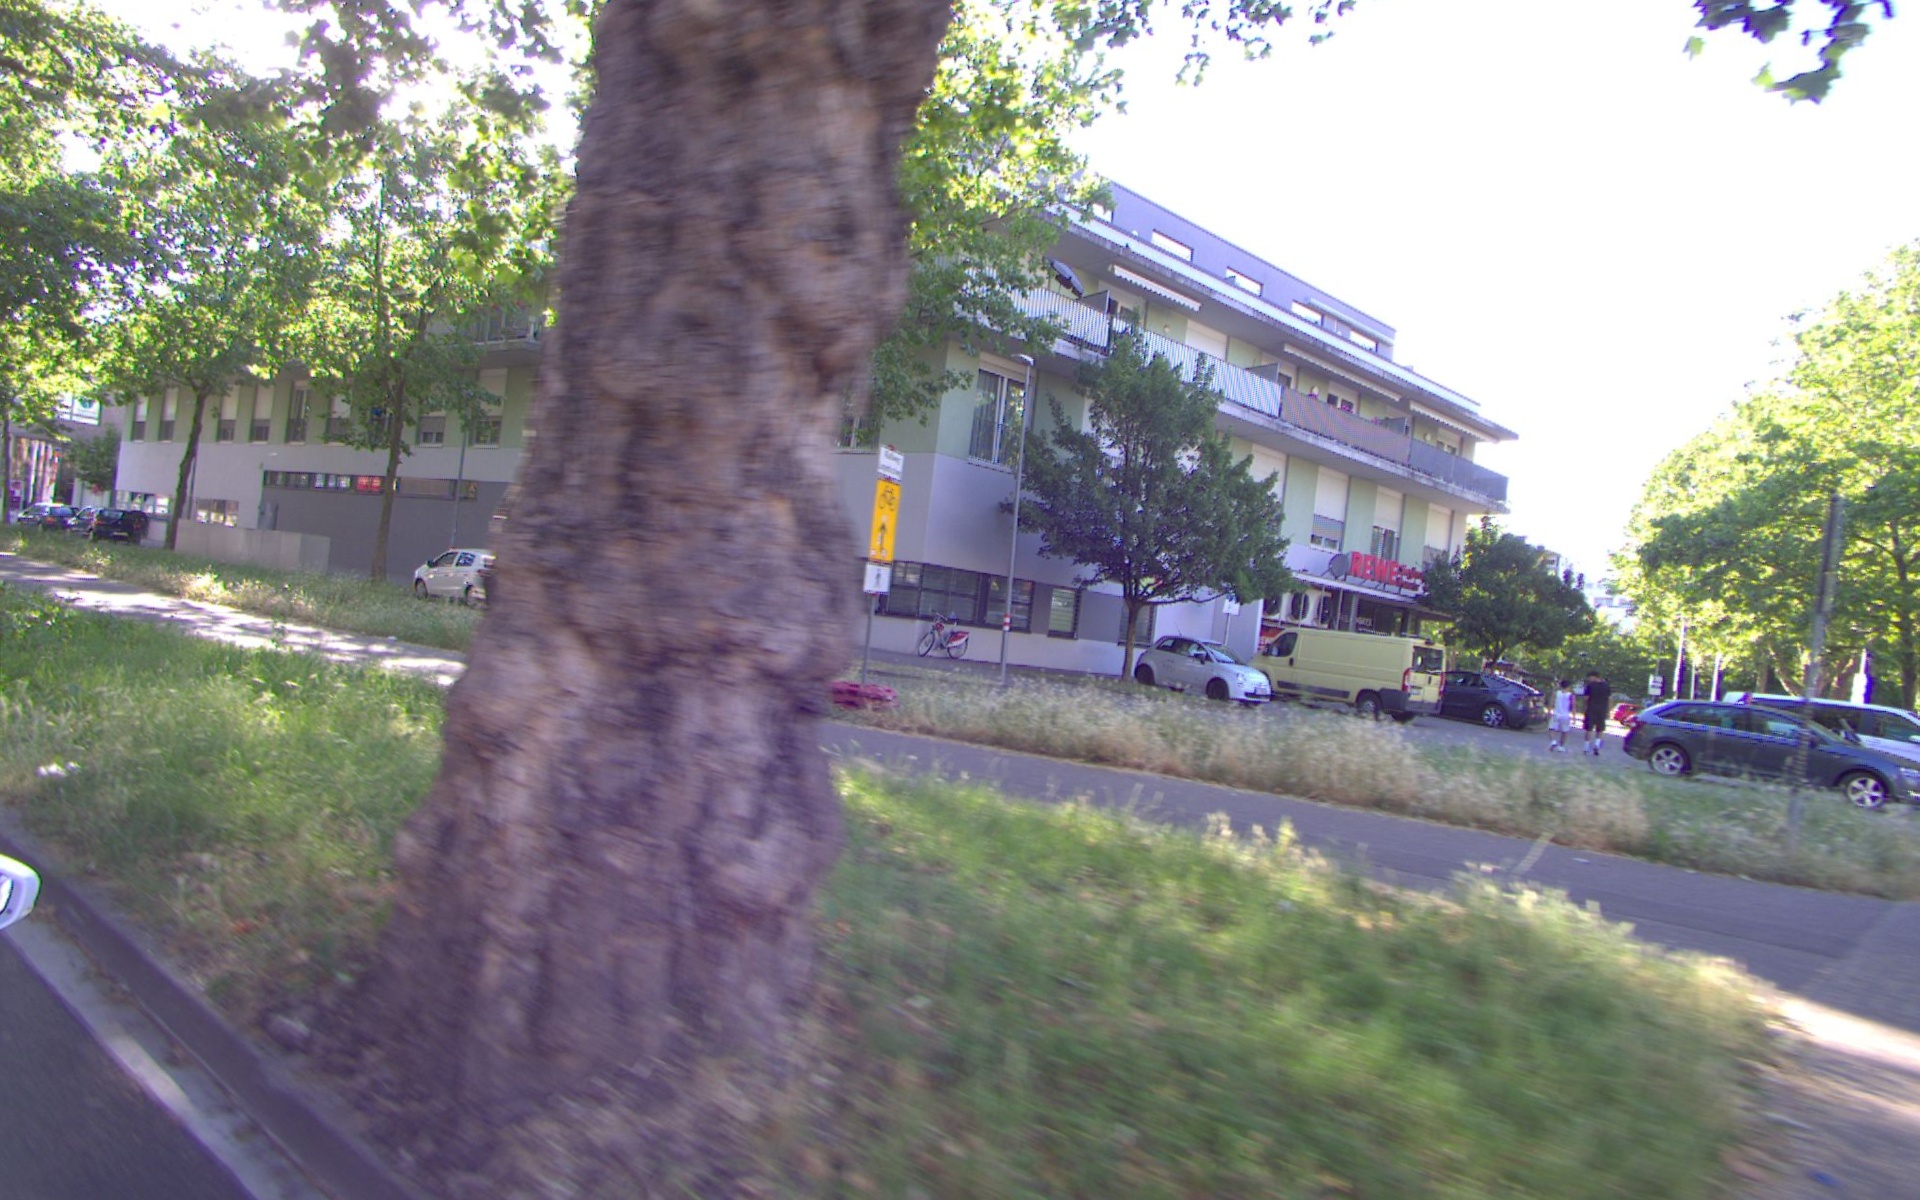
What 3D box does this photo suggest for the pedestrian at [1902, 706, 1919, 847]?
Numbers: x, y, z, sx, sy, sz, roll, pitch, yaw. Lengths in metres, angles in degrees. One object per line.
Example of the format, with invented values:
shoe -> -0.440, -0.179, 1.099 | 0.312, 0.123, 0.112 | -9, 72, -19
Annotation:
pedestrian -> 11.322, 1.857, 11.129 | 0.768, 1.956, 0.838 | 7, 1, -7

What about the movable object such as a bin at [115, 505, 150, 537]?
movable object such as a bin -> -43.702, -4.157, 53.114 | 1.389, 1.481, 1.190 | 7, 0, 45

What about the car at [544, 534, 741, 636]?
car -> -7.251, -0.359, 22.835 | 4.250, 1.793, 1.906 | 7, 0, 34

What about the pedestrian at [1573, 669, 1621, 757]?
pedestrian -> 14.164, 2.509, 22.378 | 0.676, 1.832, 0.961 | 7, 1, 35

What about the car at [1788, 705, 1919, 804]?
car -> 22.581, 3.831, 23.460 | 1.986, 1.798, 4.579 | 7, 3, -40

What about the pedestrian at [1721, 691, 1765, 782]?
pedestrian -> 16.072, 2.792, 20.645 | 0.525, 1.772, 0.557 | 5, -1, 45

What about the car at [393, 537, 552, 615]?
car -> -13.163, -0.658, 27.107 | 4.250, 1.562, 1.860 | 7, 0, 34

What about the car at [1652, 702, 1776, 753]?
car -> 32.626, 5.486, 43.673 | 3.919, 1.484, 1.865 | 7, 0, 28

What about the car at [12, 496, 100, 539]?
car -> -41.636, -3.816, 46.310 | 4.055, 1.486, 1.861 | 7, 0, 32

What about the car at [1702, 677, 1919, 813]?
car -> 19.733, 3.253, 22.070 | 1.986, 2.123, 4.993 | 7, 3, -40

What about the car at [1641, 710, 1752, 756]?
car -> 35.074, 6.321, 48.037 | 3.919, 1.484, 1.865 | 7, 0, 28

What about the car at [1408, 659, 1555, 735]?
car -> 16.387, 3.033, 31.741 | 1.566, 1.654, 3.635 | 7, 3, -40

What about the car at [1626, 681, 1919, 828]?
car -> 14.096, 2.562, 17.345 | 1.666, 1.542, 3.934 | 7, 3, -45

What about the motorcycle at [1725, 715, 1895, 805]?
motorcycle -> 16.176, 3.005, 19.198 | 0.946, 1.263, 2.288 | 7, 0, -44

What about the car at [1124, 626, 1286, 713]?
car -> 6.069, 1.699, 25.204 | 1.663, 1.473, 3.516 | 7, 3, -40

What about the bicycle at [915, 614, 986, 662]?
bicycle -> -0.232, 0.954, 25.105 | 1.666, 1.030, 0.582 | 7, 0, -38

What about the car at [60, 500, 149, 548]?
car -> -36.266, -3.234, 42.629 | 3.699, 1.572, 1.860 | 7, 0, 34

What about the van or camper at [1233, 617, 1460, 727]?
van or camper -> 10.570, 1.931, 27.921 | 2.246, 2.274, 5.314 | 7, 0, -38

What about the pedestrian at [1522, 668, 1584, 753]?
pedestrian -> 13.142, 2.430, 22.301 | 0.935, 1.719, 0.880 | 7, 1, 37
